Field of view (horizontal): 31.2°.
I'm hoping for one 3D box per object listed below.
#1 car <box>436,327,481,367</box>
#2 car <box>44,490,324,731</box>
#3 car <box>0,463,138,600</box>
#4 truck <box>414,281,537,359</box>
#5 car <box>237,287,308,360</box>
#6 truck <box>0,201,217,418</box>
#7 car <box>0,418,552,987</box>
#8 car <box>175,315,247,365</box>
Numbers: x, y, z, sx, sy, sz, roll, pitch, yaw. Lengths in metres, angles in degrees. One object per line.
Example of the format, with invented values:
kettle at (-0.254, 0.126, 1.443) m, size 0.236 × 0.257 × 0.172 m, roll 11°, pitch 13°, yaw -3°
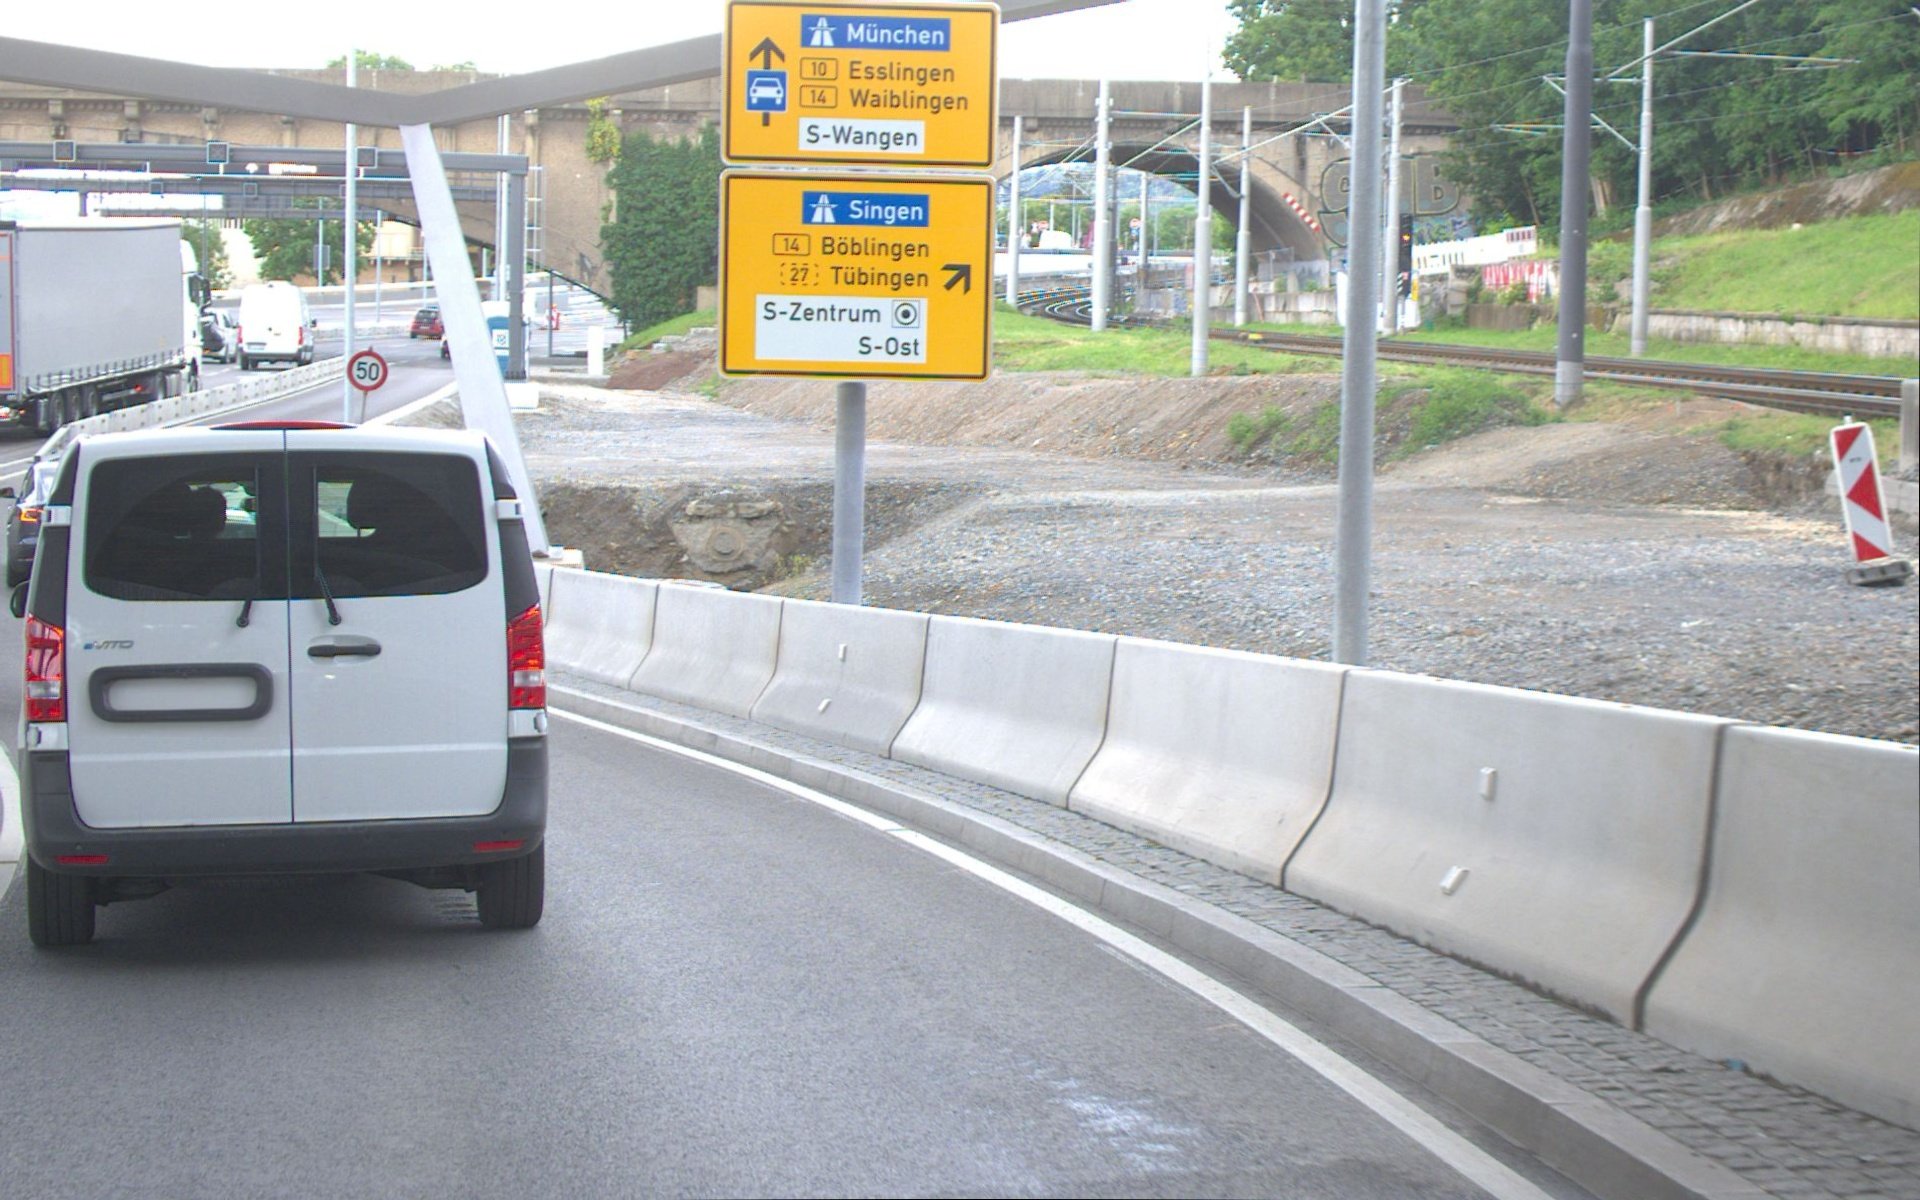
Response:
car at (-21.764, -10.973, 149.297) m, size 1.623 × 1.579 × 4.001 m, roll 2°, pitch 3°, yaw -4°
car at (-6.087, 0.025, 26.685) m, size 1.749 × 1.619 × 3.846 m, roll 1°, pitch 3°, yaw -18°
car at (-10.533, -0.841, 40.638) m, size 1.500 × 1.464 × 3.400 m, roll 1°, pitch 3°, yaw -13°
truck at (-23.224, -13.411, 165.200) m, size 3.396 × 3.138 × 7.253 m, roll 5°, pitch 2°, yaw 12°
car at (-21.449, -8.627, 107.413) m, size 1.897 × 2.108 × 4.487 m, roll 2°, pitch 3°, yaw -9°
truck at (-18.331, -6.009, 69.218) m, size 3.316 × 3.795 × 16.600 m, roll 3°, pitch 5°, yaw -1°
car at (-2.792, 0.281, 13.913) m, size 1.875 × 1.884 × 4.754 m, roll -1°, pitch 1°, yaw -11°
car at (-25.640, -8.891, 117.743) m, size 1.645 × 1.614 × 4.001 m, roll 2°, pitch 3°, yaw -2°
